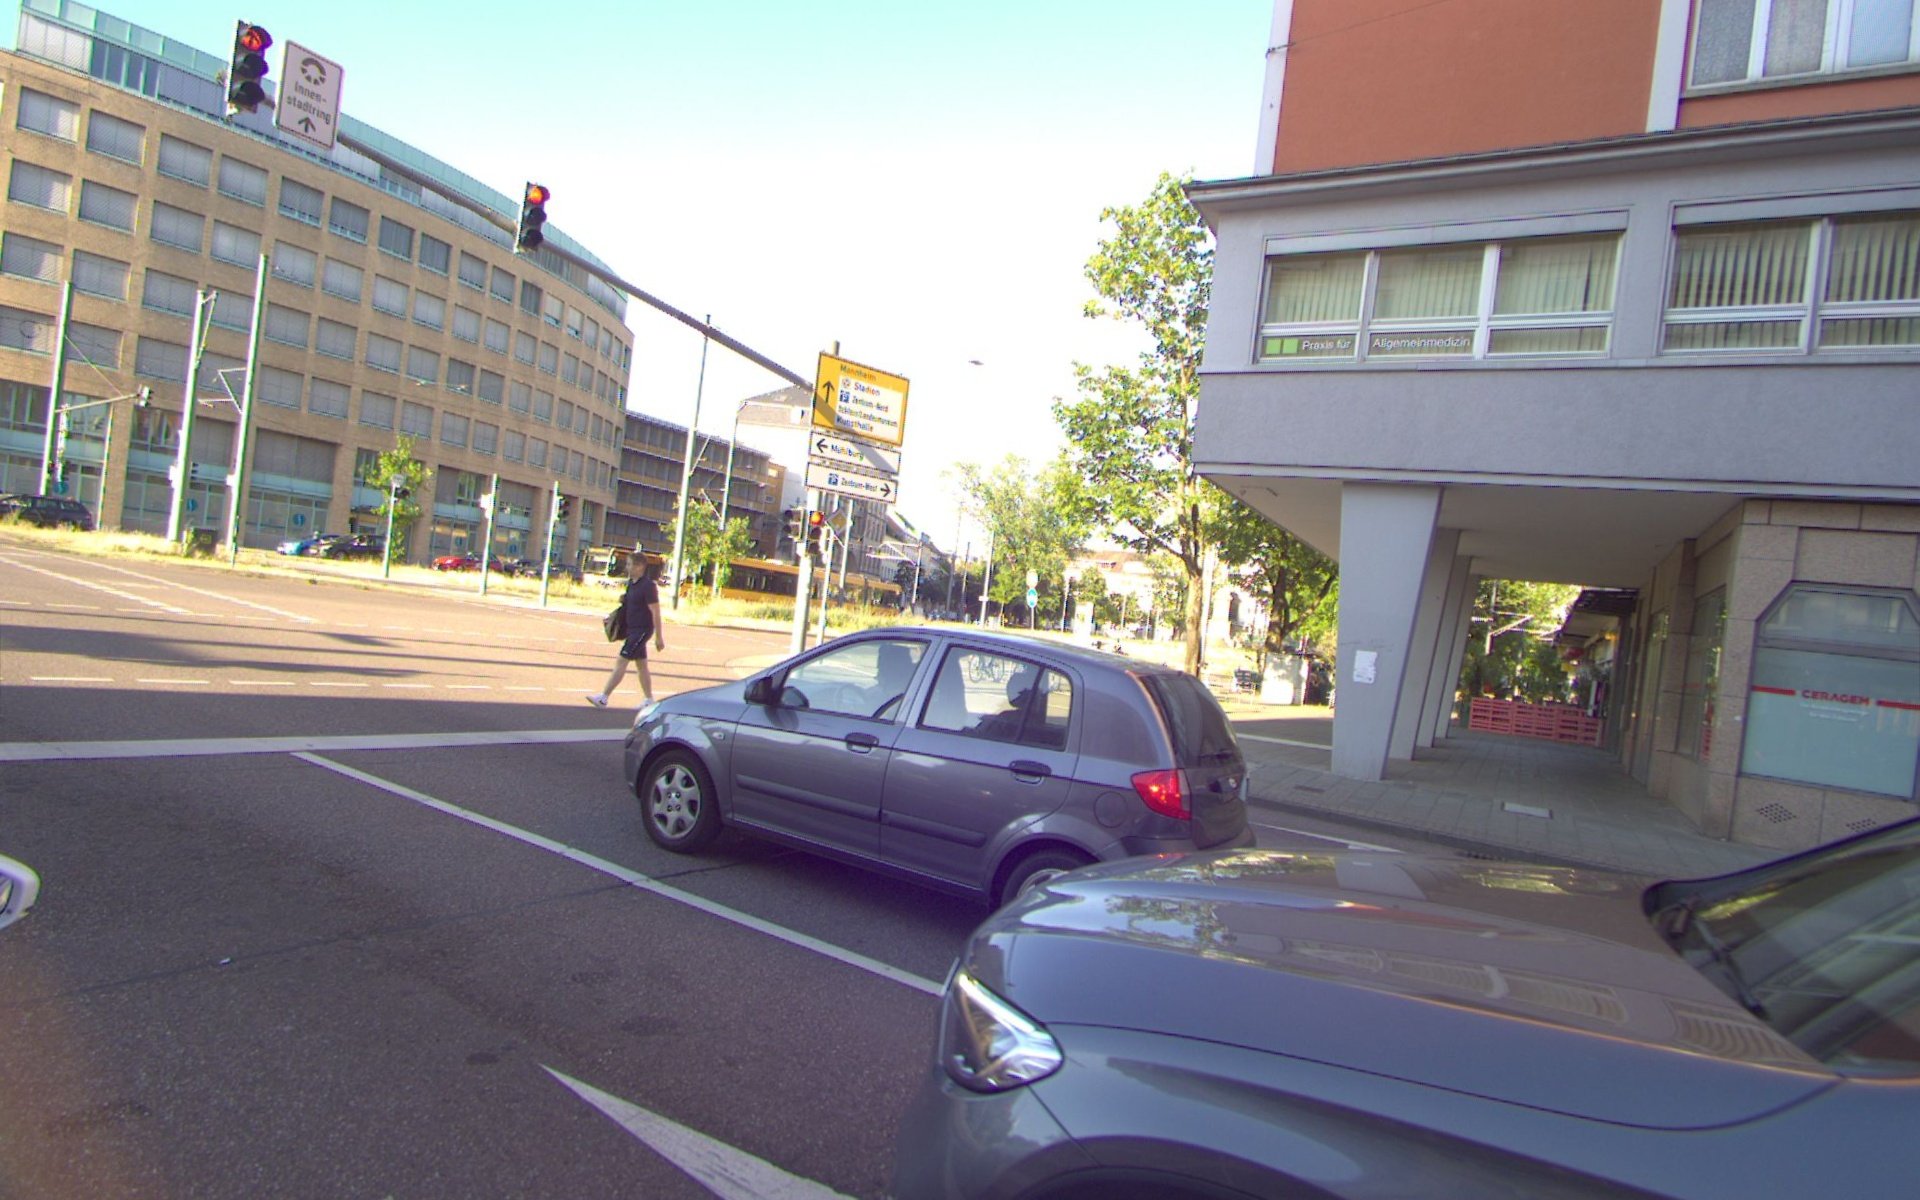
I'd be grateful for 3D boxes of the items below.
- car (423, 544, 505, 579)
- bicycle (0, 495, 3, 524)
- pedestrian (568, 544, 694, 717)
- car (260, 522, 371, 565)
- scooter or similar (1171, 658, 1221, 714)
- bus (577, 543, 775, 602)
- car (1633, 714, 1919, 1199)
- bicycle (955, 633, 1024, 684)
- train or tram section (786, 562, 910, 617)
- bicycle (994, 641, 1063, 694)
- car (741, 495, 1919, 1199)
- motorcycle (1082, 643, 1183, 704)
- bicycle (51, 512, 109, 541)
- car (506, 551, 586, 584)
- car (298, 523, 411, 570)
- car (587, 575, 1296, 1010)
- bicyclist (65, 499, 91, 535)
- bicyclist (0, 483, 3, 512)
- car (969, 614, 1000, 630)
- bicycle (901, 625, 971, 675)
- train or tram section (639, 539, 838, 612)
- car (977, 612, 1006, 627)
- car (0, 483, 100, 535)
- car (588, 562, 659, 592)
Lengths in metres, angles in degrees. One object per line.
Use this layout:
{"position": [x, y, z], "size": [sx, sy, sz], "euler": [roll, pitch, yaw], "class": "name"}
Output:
{"position": [-27.044, -2.071, 54.956], "size": [1.693, 1.358, 3.614], "euler": [7, -1, 31], "class": "car"}
{"position": [-40.799, -3.869, 41.690], "size": [0.468, 1.187, 1.519], "euler": [7, 0, 37], "class": "bicycle"}
{"position": [-3.627, 0.350, 11.132], "size": [0.659, 1.790, 0.945], "euler": [7, 1, 35], "class": "pedestrian"}
{"position": [-32.735, -2.832, 51.185], "size": [1.965, 1.520, 4.238], "euler": [7, -1, 27], "class": "car"}
{"position": [5.643, 2.067, 24.024], "size": [1.130, 1.261, 0.424], "euler": [6, 1, -39], "class": "scooter or similar"}
{"position": [-20.247, -1.822, 74.378], "size": [2.380, 2.466, 18.214], "euler": [7, -1, 26], "class": "bus"}
{"position": [4.403, 1.420, 3.266], "size": [3.419, 1.524, 1.492], "euler": [7, 0, 30], "class": "car"}
{"position": [0.761, 1.461, 25.112], "size": [0.730, 1.130, 2.089], "euler": [7, 0, 29], "class": "bicycle"}
{"position": [-8.996, -0.662, 85.796], "size": [3.629, 3.215, 19.971], "euler": [7, -1, 14], "class": "train or tram section"}
{"position": [1.672, 1.632, 24.304], "size": [0.730, 1.130, 2.089], "euler": [7, 0, 29], "class": "bicycle"}
{"position": [2.006, 0.953, 1.321], "size": [4.402, 1.652, 1.787], "euler": [7, 0, 30], "class": "car"}
{"position": [4.522, 1.910, 26.411], "size": [2.361, 1.256, 0.855], "euler": [7, 0, 28], "class": "motorcycle"}
{"position": [-39.276, -3.284, 44.913], "size": [0.525, 0.996, 1.822], "euler": [7, 0, 34], "class": "bicycle"}
{"position": [-24.580, -1.904, 59.832], "size": [1.966, 1.362, 3.995], "euler": [7, -1, 28], "class": "car"}
{"position": [-29.751, -2.599, 49.534], "size": [1.967, 1.634, 4.234], "euler": [7, -1, 32], "class": "car"}
{"position": [-0.182, 0.843, 5.715], "size": [3.586, 1.463, 1.588], "euler": [7, -2, 31], "class": "car"}
{"position": [-39.312, -3.694, 44.832], "size": [0.525, 1.487, 0.667], "euler": [7, 1, 35], "class": "bicyclist"}
{"position": [-40.593, -4.061, 41.960], "size": [0.468, 1.757, 0.790], "euler": [7, 1, 37], "class": "bicyclist"}
{"position": [3.265, 2.891, 132.666], "size": [1.971, 1.609, 3.984], "euler": [7, 0, 40], "class": "car"}
{"position": [-0.587, 1.296, 25.811], "size": [0.730, 1.130, 2.089], "euler": [7, 0, 29], "class": "bicycle"}
{"position": [-14.434, -1.414, 68.722], "size": [3.633, 3.215, 17.153], "euler": [7, -1, 23], "class": "train or tram section"}
{"position": [4.302, 2.710, 137.799], "size": [1.969, 1.609, 3.988], "euler": [7, 0, 35], "class": "car"}
{"position": [-37.963, -3.809, 40.464], "size": [1.965, 1.617, 4.657], "euler": [7, -1, 28], "class": "car"}
{"position": [-21.745, -1.467, 65.065], "size": [1.966, 1.362, 3.995], "euler": [7, -1, 28], "class": "car"}
